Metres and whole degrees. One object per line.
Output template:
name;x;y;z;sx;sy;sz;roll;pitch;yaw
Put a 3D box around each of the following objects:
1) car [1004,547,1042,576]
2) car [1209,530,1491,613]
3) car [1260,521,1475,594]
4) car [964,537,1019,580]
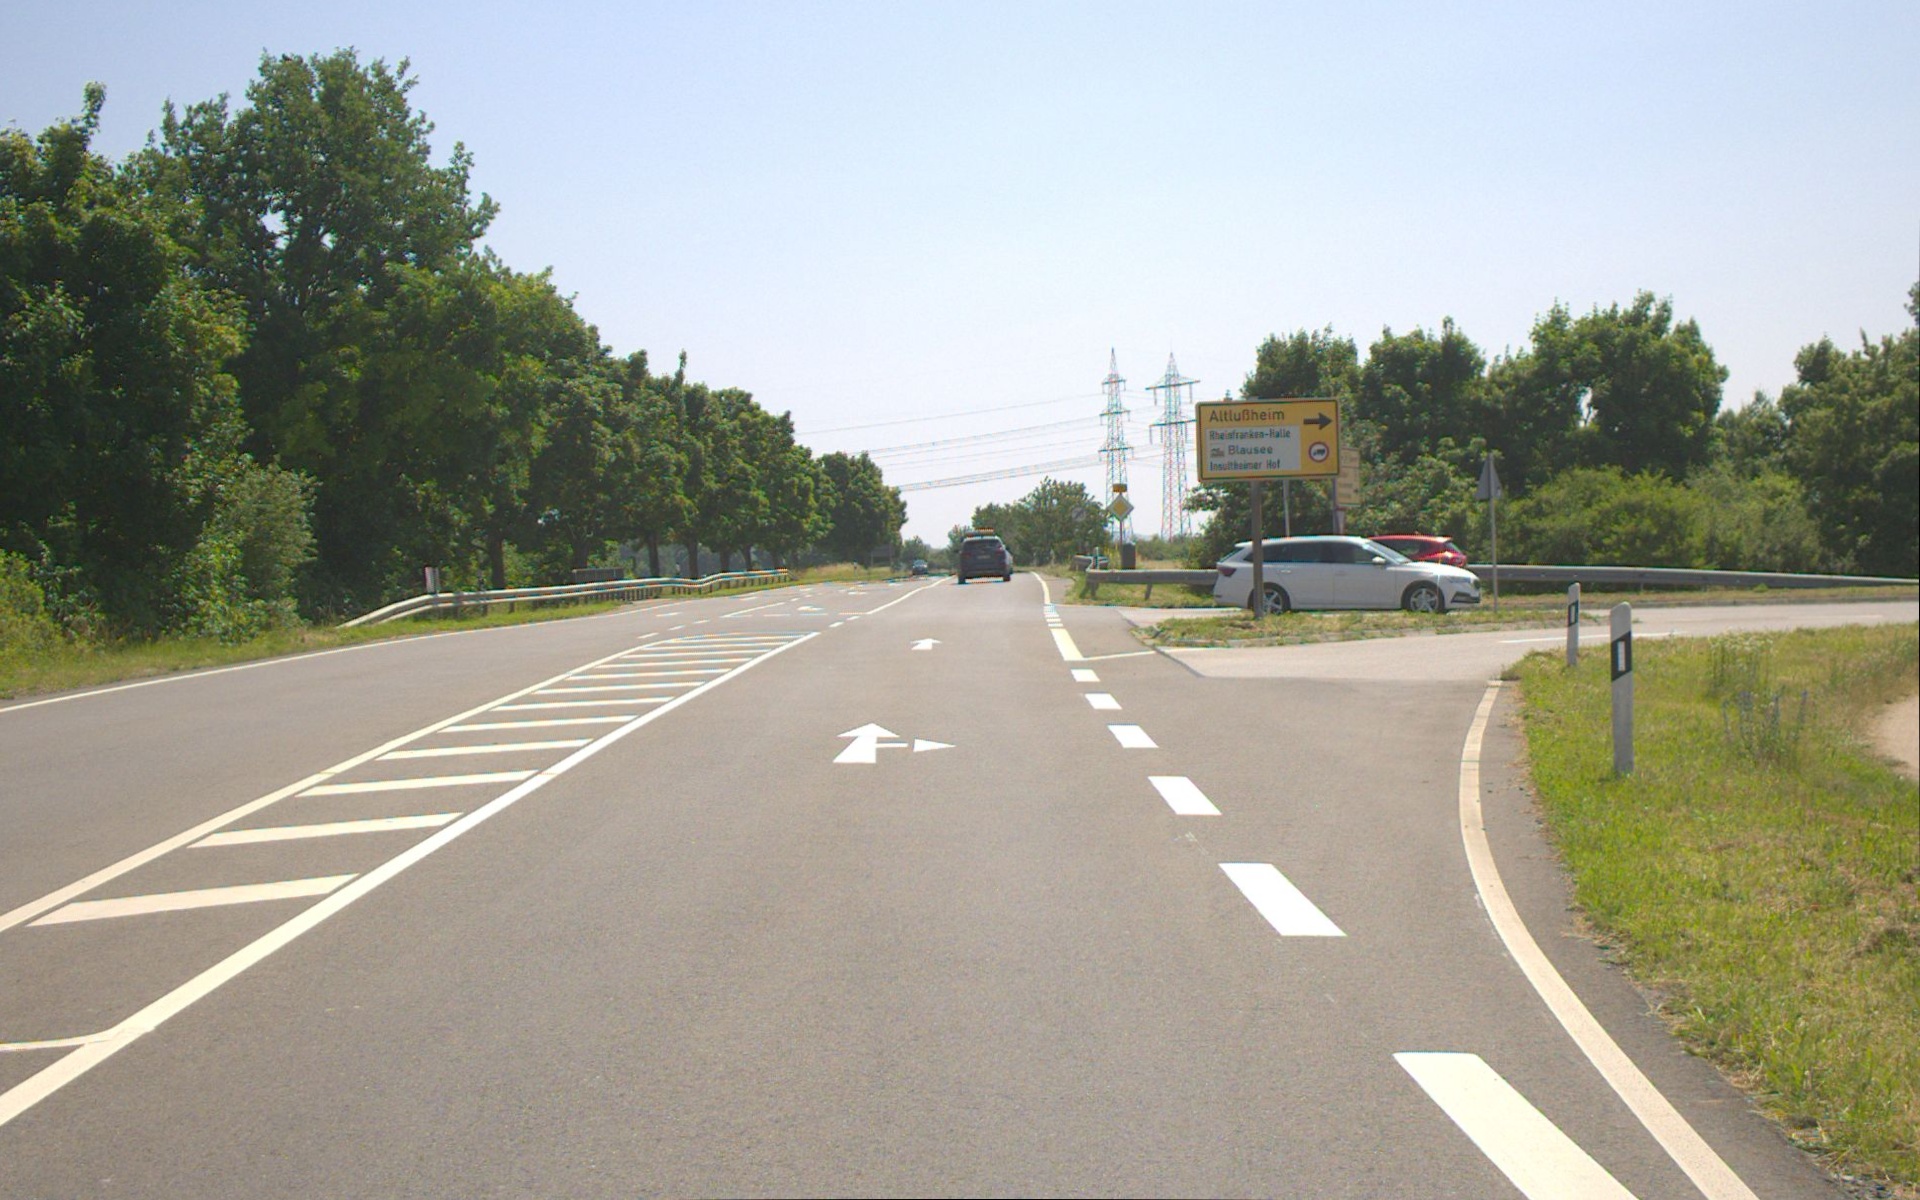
car;2.958;-1.825;162.198;1.643;1.336;4.040;0;1;-1
car;6.844;-0.506;60.221;4.703;1.414;1.840;0;1;14
car;8.363;-0.874;70.503;4.155;1.414;1.778;-1;0;14
car;1.113;-1.503;124.649;1.884;1.513;4.040;0;1;-1
